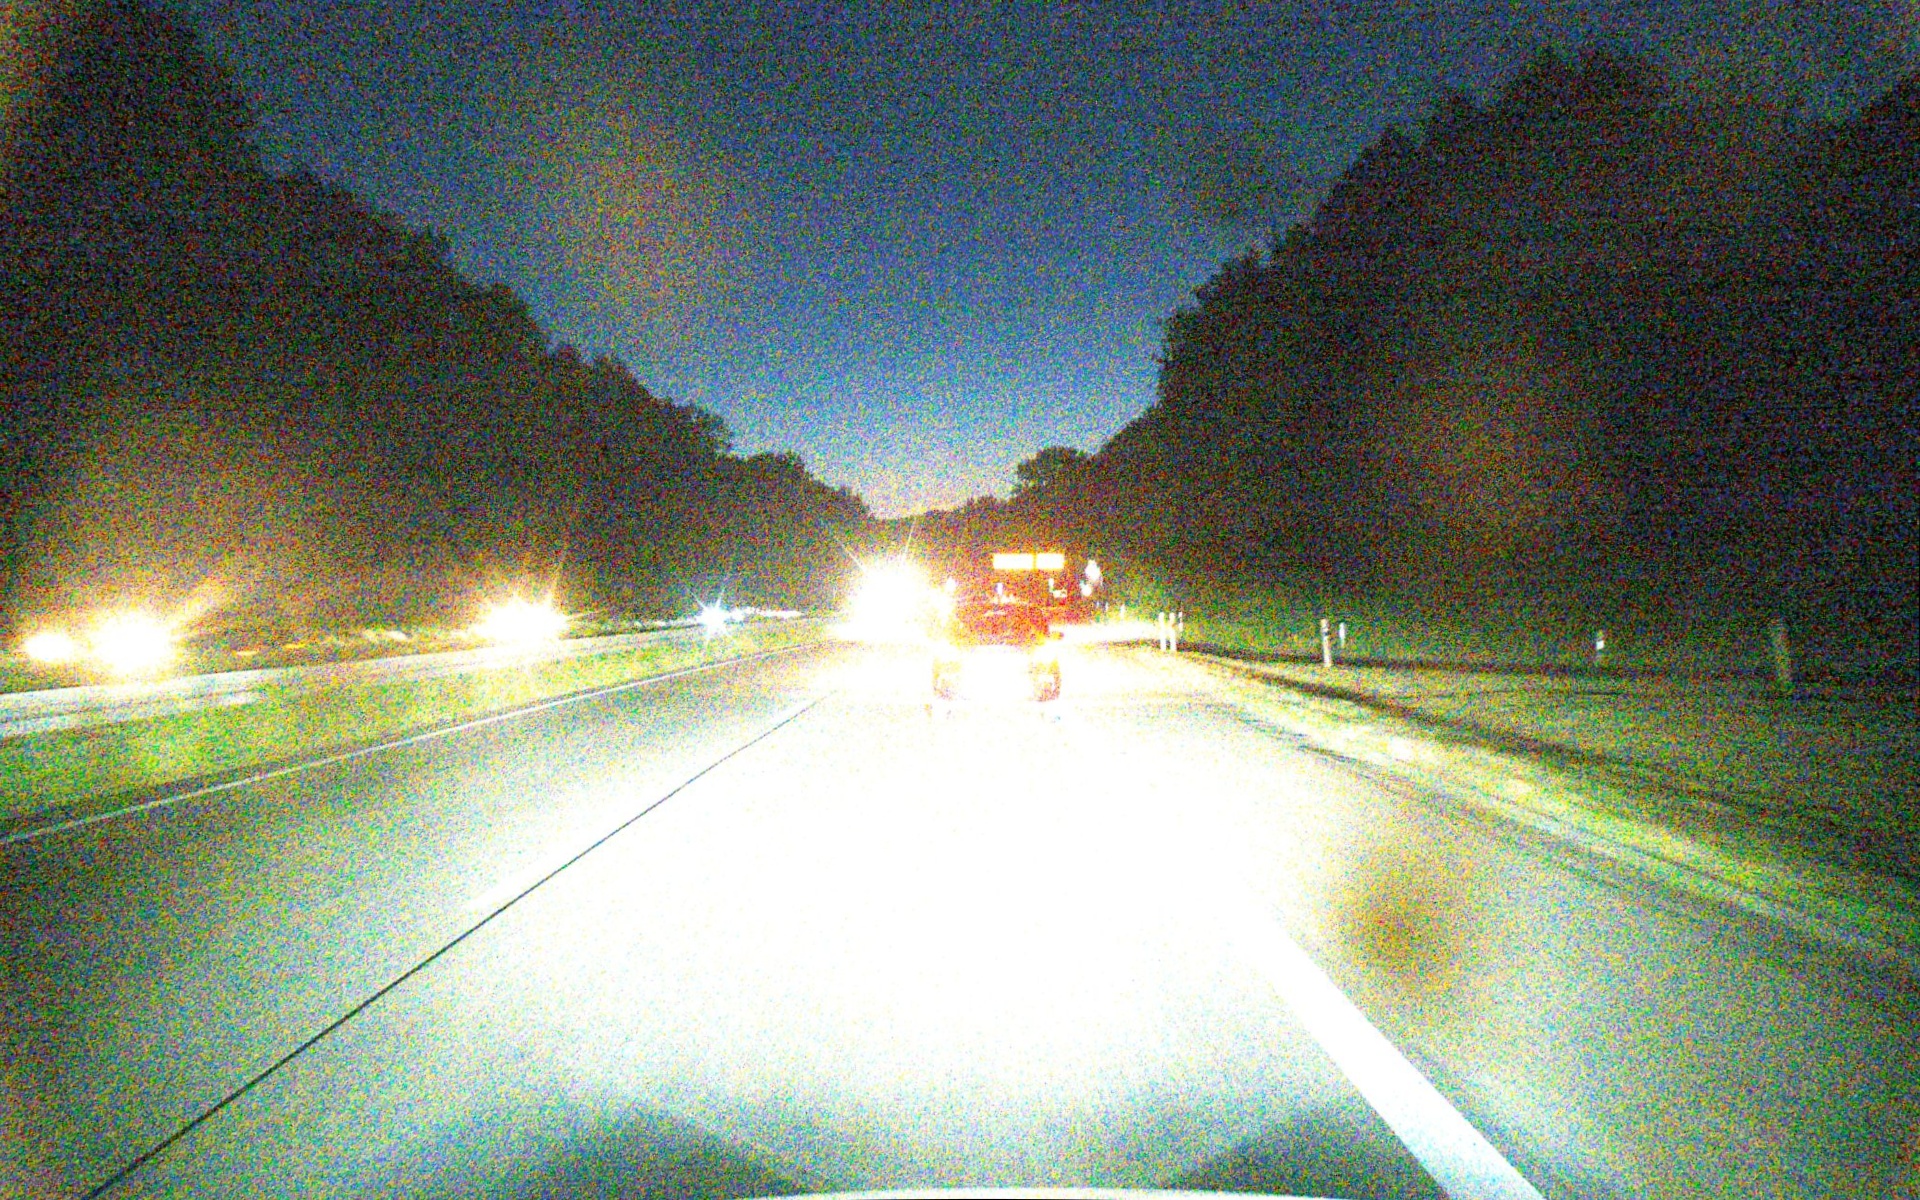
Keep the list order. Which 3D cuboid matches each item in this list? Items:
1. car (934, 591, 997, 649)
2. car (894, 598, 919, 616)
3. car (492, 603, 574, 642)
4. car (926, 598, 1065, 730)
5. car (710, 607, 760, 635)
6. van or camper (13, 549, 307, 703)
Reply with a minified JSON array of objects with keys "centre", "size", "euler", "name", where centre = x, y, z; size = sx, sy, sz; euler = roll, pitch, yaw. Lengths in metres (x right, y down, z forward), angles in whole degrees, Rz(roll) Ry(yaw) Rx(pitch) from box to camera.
[{"centre":[0.202,0.591,51.397],"size":[1.867,1.728,4.001],"euler":[0,0,1],"name":"car"},{"centre":[-5.273,0.674,163.641],"size":[1.916,1.764,5.082],"euler":[-1,0,4],"name":"car"},{"centre":[-17.115,0.880,66.540],"size":[1.916,1.482,4.172],"euler":[-1,0,4],"name":"car"},{"centre":[0.380,0.762,21.706],"size":[1.556,1.534,3.998],"euler":[2,0,-2],"name":"car"},{"centre":[-12.766,1.195,94.151],"size":[1.916,1.482,4.473],"euler":[-1,0,4],"name":"car"},{"centre":[-15.537,0.444,32.845],"size":[2.248,2.663,7.663],"euler":[-1,0,-1],"name":"van or camper"}]
